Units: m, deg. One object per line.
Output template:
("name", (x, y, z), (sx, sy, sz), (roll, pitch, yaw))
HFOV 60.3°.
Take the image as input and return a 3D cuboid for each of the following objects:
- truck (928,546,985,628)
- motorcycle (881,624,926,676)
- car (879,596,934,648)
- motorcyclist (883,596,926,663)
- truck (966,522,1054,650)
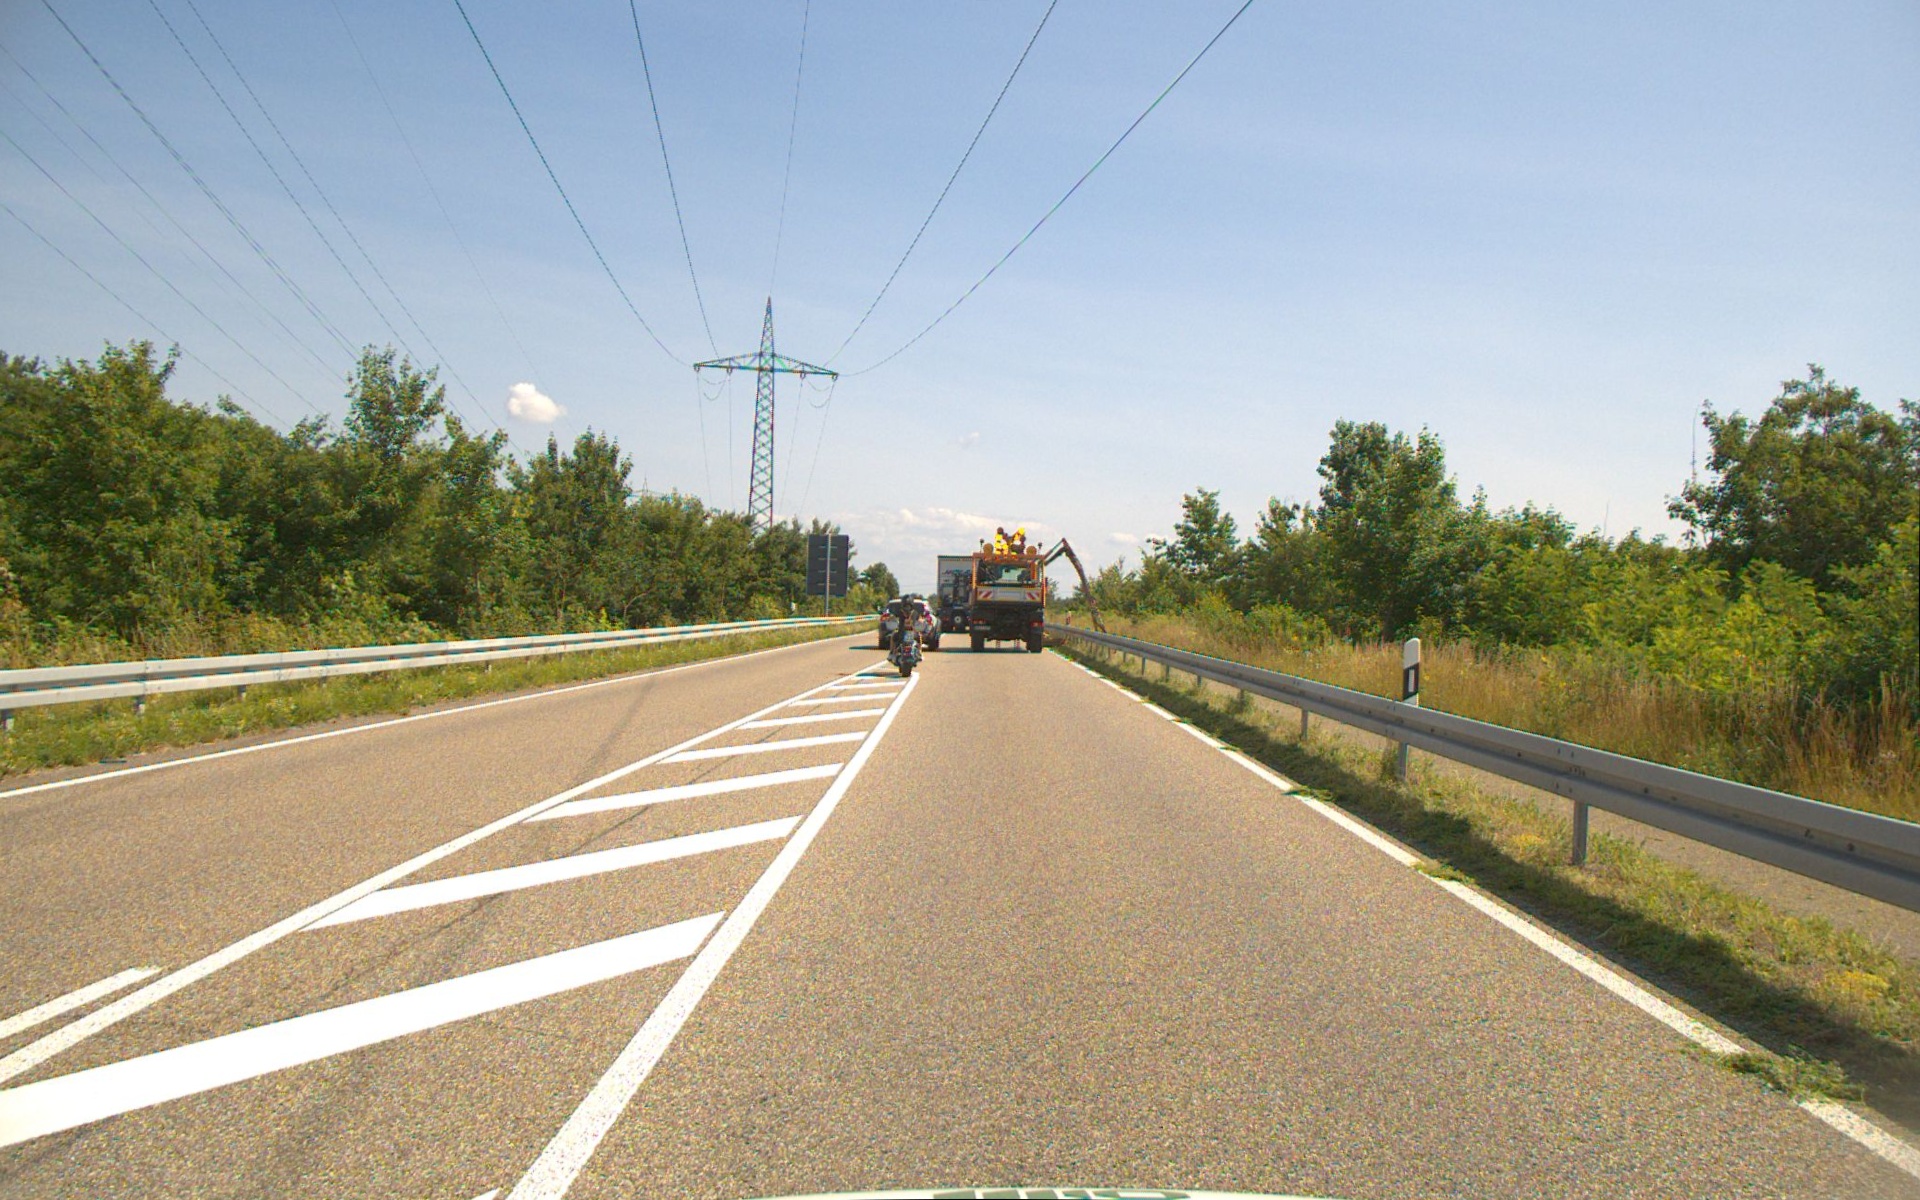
("truck", (-0.093, -0.705, 94.967), (2.906, 4.260, 14.823), (1, 0, 1))
("motorcycle", (-1.104, 0.978, 32.919), (0.841, 0.931, 2.227), (1, 0, -1))
("car", (-1.694, 0.671, 52.400), (1.667, 1.563, 3.497), (1, 0, -2))
("motorcyclist", (-1.097, 0.580, 32.993), (0.820, 1.303, 0.919), (1, 0, -1))
("truck", (1.564, -0.425, 53.126), (2.560, 3.776, 6.778), (1, 0, 1))
